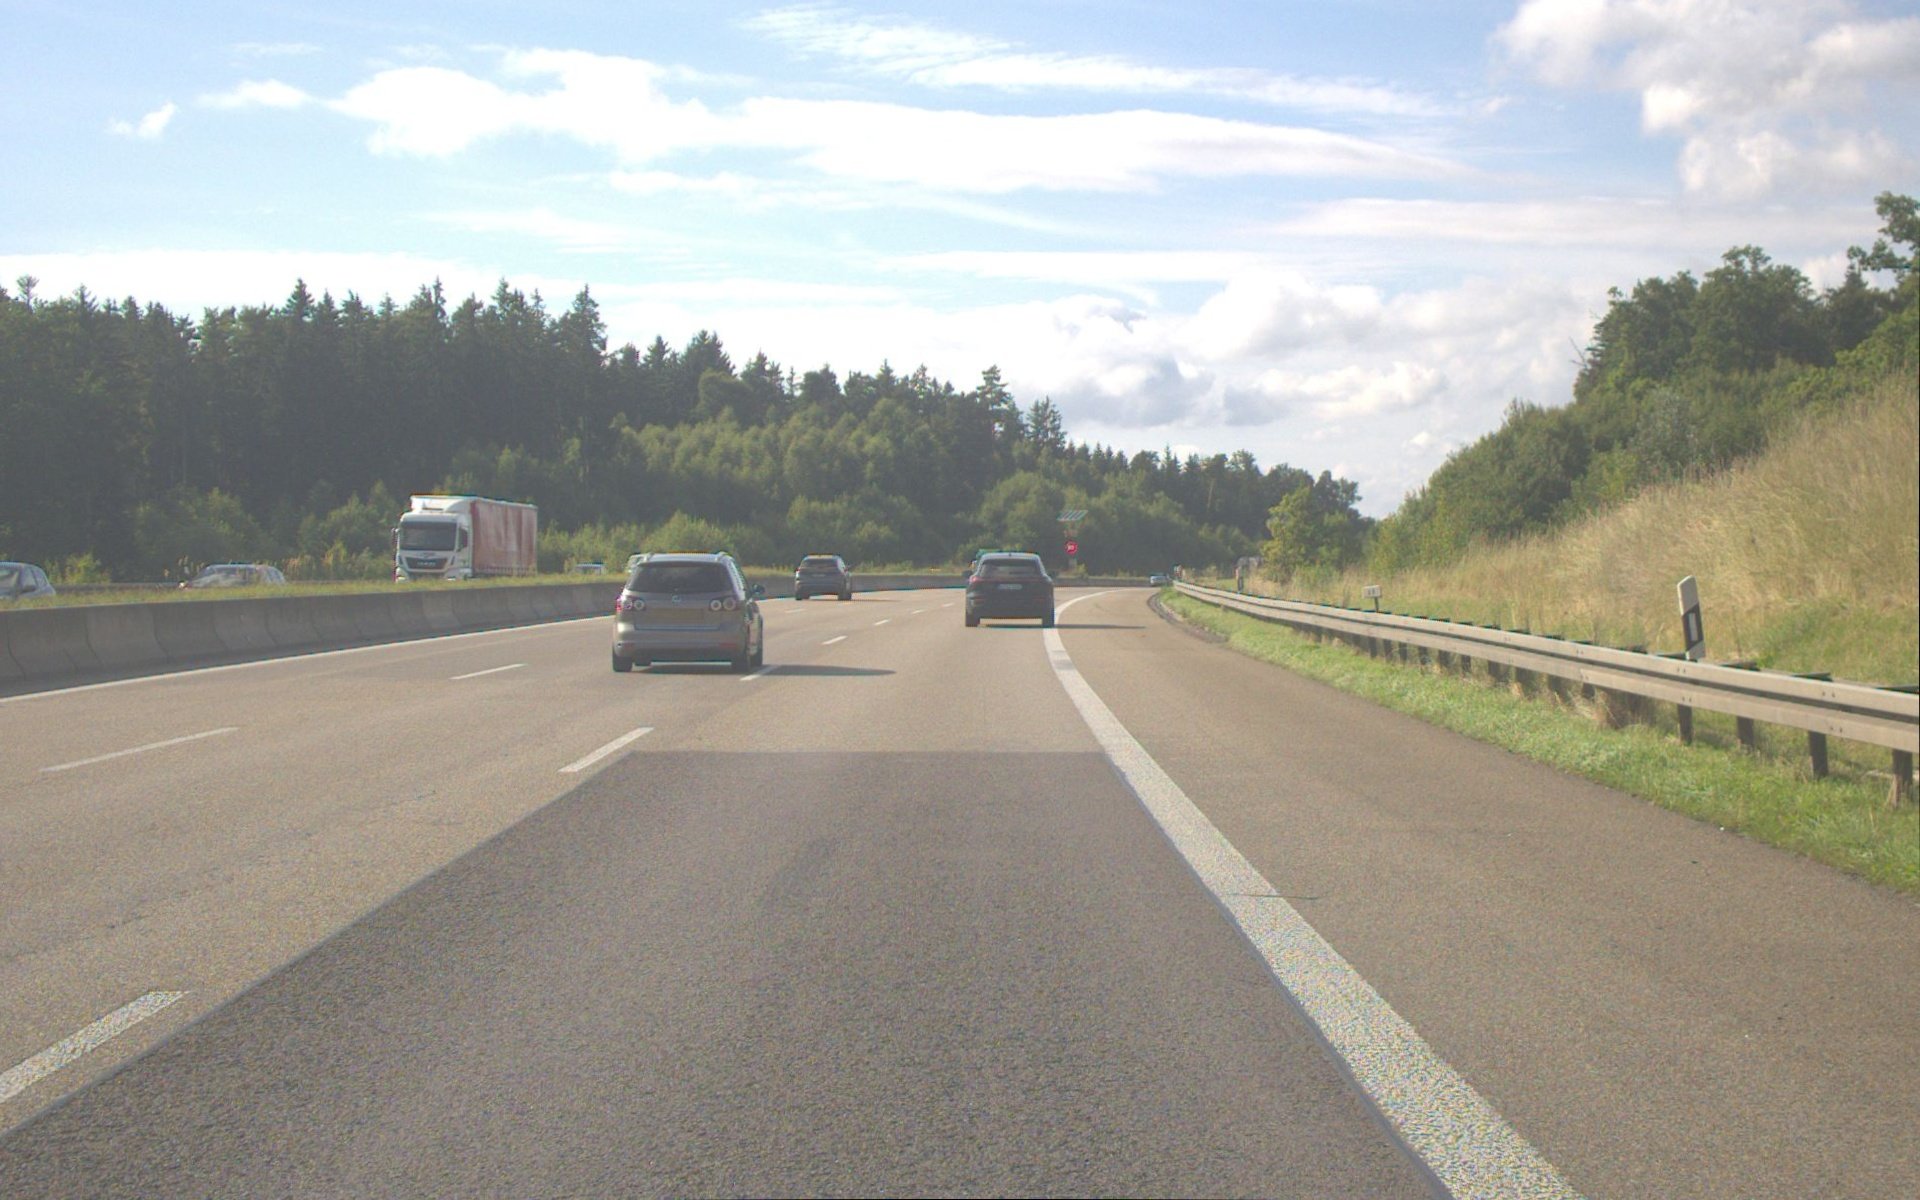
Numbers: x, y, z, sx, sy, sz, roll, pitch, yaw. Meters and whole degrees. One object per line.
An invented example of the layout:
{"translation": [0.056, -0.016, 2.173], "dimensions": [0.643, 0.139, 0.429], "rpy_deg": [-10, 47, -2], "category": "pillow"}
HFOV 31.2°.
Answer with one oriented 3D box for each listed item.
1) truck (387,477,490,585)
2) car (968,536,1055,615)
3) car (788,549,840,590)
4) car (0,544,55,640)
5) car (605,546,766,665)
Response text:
{"translation": [-20.328, -2.675, 134.313], "dimensions": [3.024, 4.094, 5.668], "rpy_deg": [0, 1, 2], "category": "truck"}
{"translation": [1.155, -0.562, 75.757], "dimensions": [1.874, 1.669, 3.890], "rpy_deg": [0, 1, 1], "category": "car"}
{"translation": [-5.384, -1.138, 127.033], "dimensions": [1.873, 1.492, 3.880], "rpy_deg": [0, 1, -2], "category": "car"}
{"translation": [-19.008, -0.174, 66.361], "dimensions": [1.993, 1.796, 4.000], "rpy_deg": [0, 1, 0], "category": "car"}
{"translation": [-3.610, 0.042, 45.755], "dimensions": [1.873, 1.492, 3.880], "rpy_deg": [0, 1, -1], "category": "car"}
